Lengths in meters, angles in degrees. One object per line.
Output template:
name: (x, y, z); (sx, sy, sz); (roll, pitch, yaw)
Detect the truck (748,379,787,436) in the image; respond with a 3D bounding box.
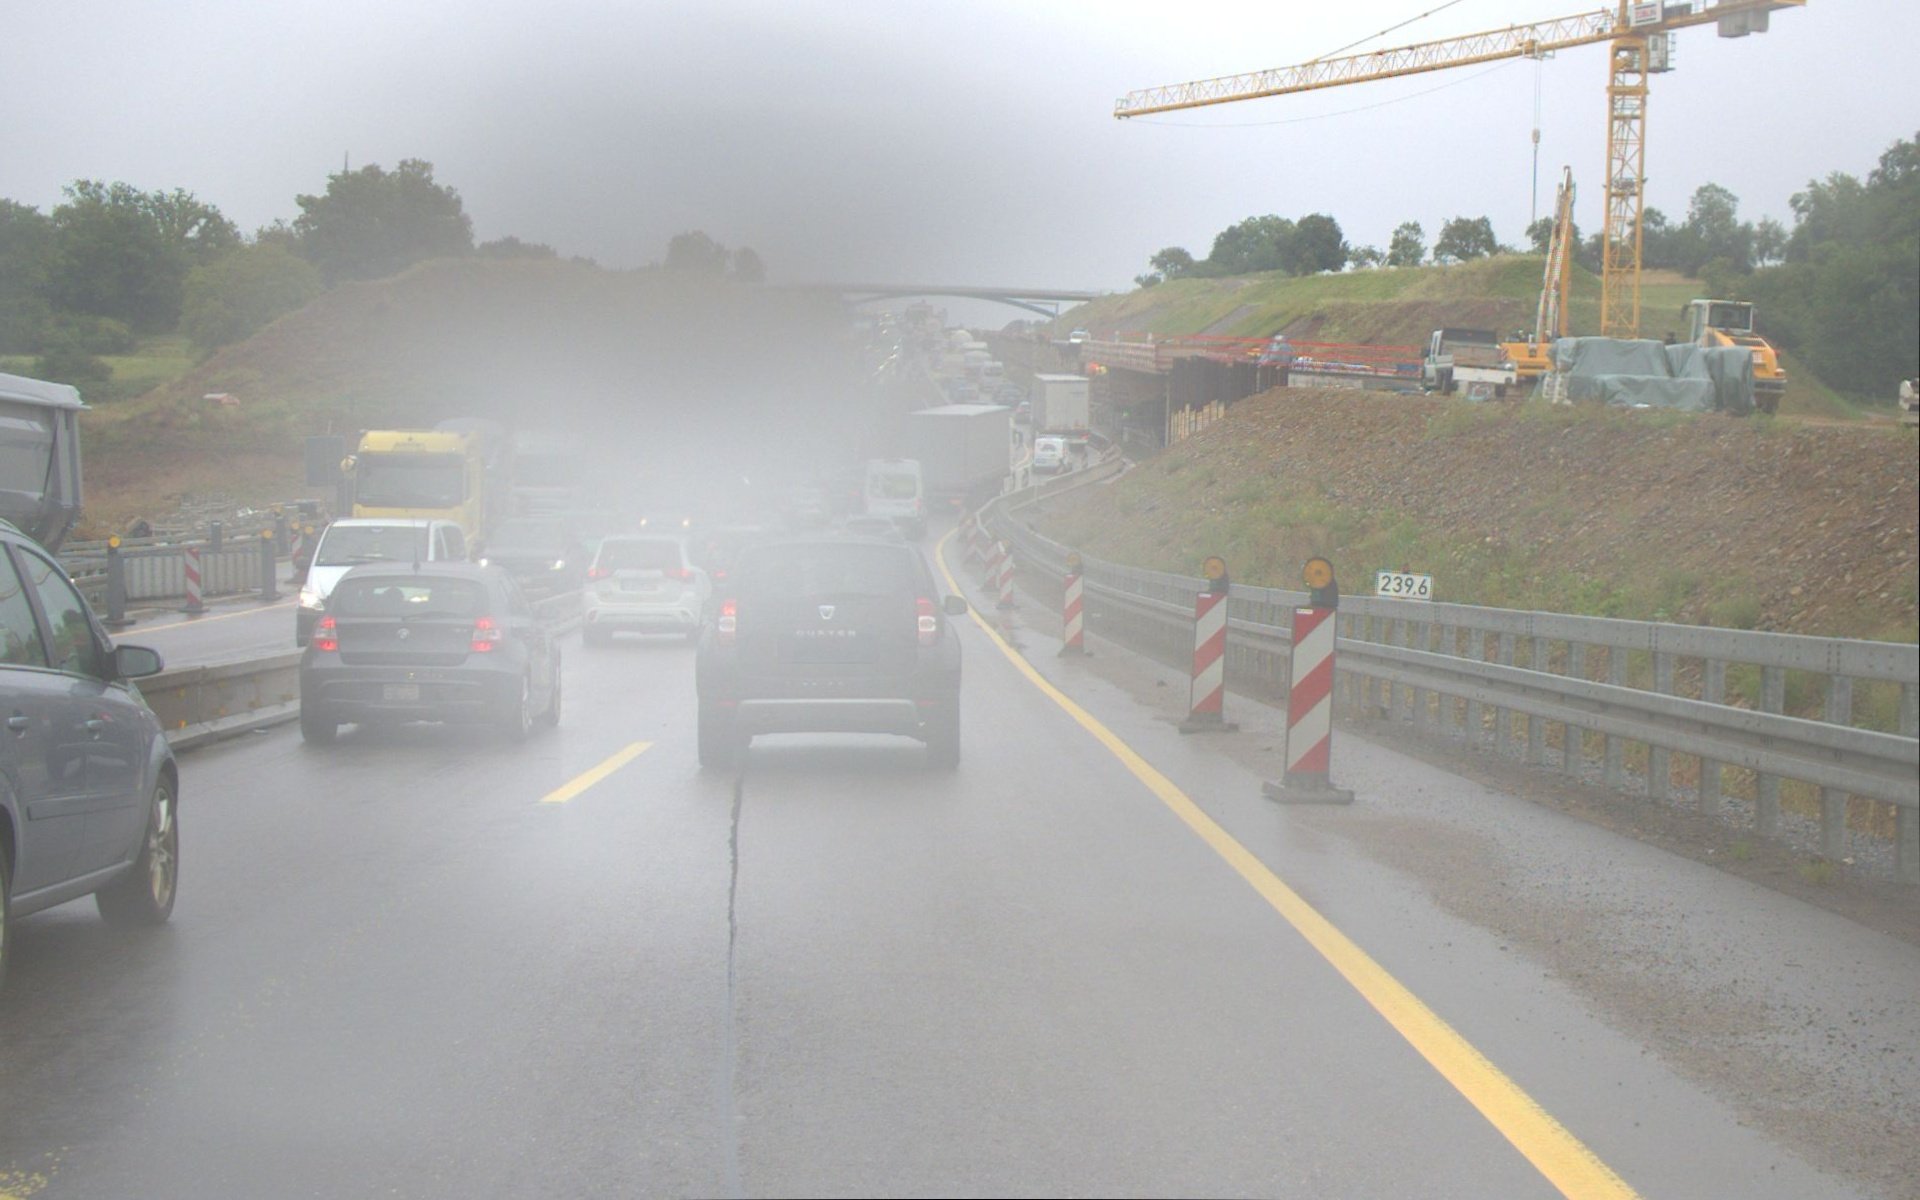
truck: (-13.790, -13.839, 246.826); (2.641, 3.956, 9.216); (1, 4, -2)

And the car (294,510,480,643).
car: (-8.089, -0.360, 48.964); (1.874, 1.786, 5.360); (0, 1, -1)

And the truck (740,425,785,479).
truck: (-9.940, -7.455, 173.420); (2.078, 2.567, 5.963); (1, 1, -2)

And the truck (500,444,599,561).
truck: (-13.273, -3.145, 111.614); (2.620, 3.665, 6.596); (1, 1, -2)

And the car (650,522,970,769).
car: (-1.010, 0.259, 24.688); (2.081, 1.595, 4.141); (1, 1, -1)

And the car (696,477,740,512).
car: (-10.708, -4.669, 152.166); (1.772, 1.499, 4.680); (0, 2, -2)

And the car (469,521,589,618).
car: (-8.374, -0.621, 67.095); (1.787, 1.799, 5.190); (-1, 1, -1)

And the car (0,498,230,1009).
car: (-3.997, 0.437, 12.118); (1.993, 1.595, 4.141); (1, 1, -1)

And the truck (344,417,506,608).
truck: (-11.870, -1.931, 76.733); (2.749, 4.048, 6.148); (1, 1, -1)

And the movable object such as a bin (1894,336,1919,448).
movable object such as a bin: (32.432, -6.764, 110.914); (2.340, 3.587, 6.562); (1, 1, -4)

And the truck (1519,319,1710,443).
truck: (17.335, -5.758, 91.747); (3.395, 2.865, 8.960); (1, 1, 0)

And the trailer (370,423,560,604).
trailer: (-12.028, -2.101, 85.005); (2.749, 4.028, 15.360); (1, 1, -1)

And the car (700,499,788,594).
car: (-5.108, -1.263, 80.886); (1.993, 2.155, 4.141); (1, 1, -4)

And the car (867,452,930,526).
car: (-2.100, -3.803, 118.859); (1.993, 2.475, 4.982); (1, 1, 1)

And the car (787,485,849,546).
car: (-5.168, -3.077, 125.690); (1.993, 2.155, 4.141); (1, 1, 1)

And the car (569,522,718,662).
car: (-4.748, -0.153, 52.044); (1.993, 2.007, 3.894); (1, 1, -2)

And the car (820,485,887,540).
car: (-4.232, -3.478, 137.648); (1.994, 2.155, 4.139); (1, 1, 8)

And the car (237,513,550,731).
car: (-4.444, 0.124, 27.562); (1.993, 1.595, 4.141); (1, 1, -3)

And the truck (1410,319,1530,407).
truck: (16.762, -7.774, 113.405); (2.645, 2.546, 6.985); (1, 1, -2)

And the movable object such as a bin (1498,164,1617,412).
movable object such as a bin: (27.998, -14.417, 160.771); (4.721, 10.804, 10.298); (1, 1, 13)

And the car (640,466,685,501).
car: (-13.465, -5.270, 155.914); (1.787, 1.541, 4.001); (1, 2, -2)

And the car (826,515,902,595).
car: (-2.645, -1.263, 95.631); (1.993, 2.155, 4.141); (1, 1, 0)

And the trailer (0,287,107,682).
trailer: (-10.932, -1.138, 34.082); (2.686, 3.950, 9.820); (-1, 1, -1)

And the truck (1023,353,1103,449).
truck: (5.894, -11.447, 199.457); (3.803, 5.025, 12.923); (1, 1, -2)

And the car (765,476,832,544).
car: (-5.320, -2.963, 113.560); (1.993, 2.155, 4.141); (1, 1, 0)

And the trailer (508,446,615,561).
trailer: (-13.506, -3.269, 117.250); (2.620, 3.665, 12.005); (1, 1, -2)

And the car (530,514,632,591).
car: (-9.010, -1.155, 82.128); (1.993, 1.753, 4.688); (1, 1, -1)

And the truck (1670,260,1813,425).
truck: (21.622, -7.078, 95.365); (2.373, 4.203, 5.980); (1, 1, -2)

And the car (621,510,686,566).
car: (-10.003, -2.038, 112.396); (1.865, 1.794, 4.163); (1, 1, -2)

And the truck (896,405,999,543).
truck: (-0.428, -5.087, 141.051); (3.102, 5.407, 9.441); (1, 1, 6)

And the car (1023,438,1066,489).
car: (4.259, -6.861, 173.078); (1.993, 2.475, 4.741); (1, 1, 0)
